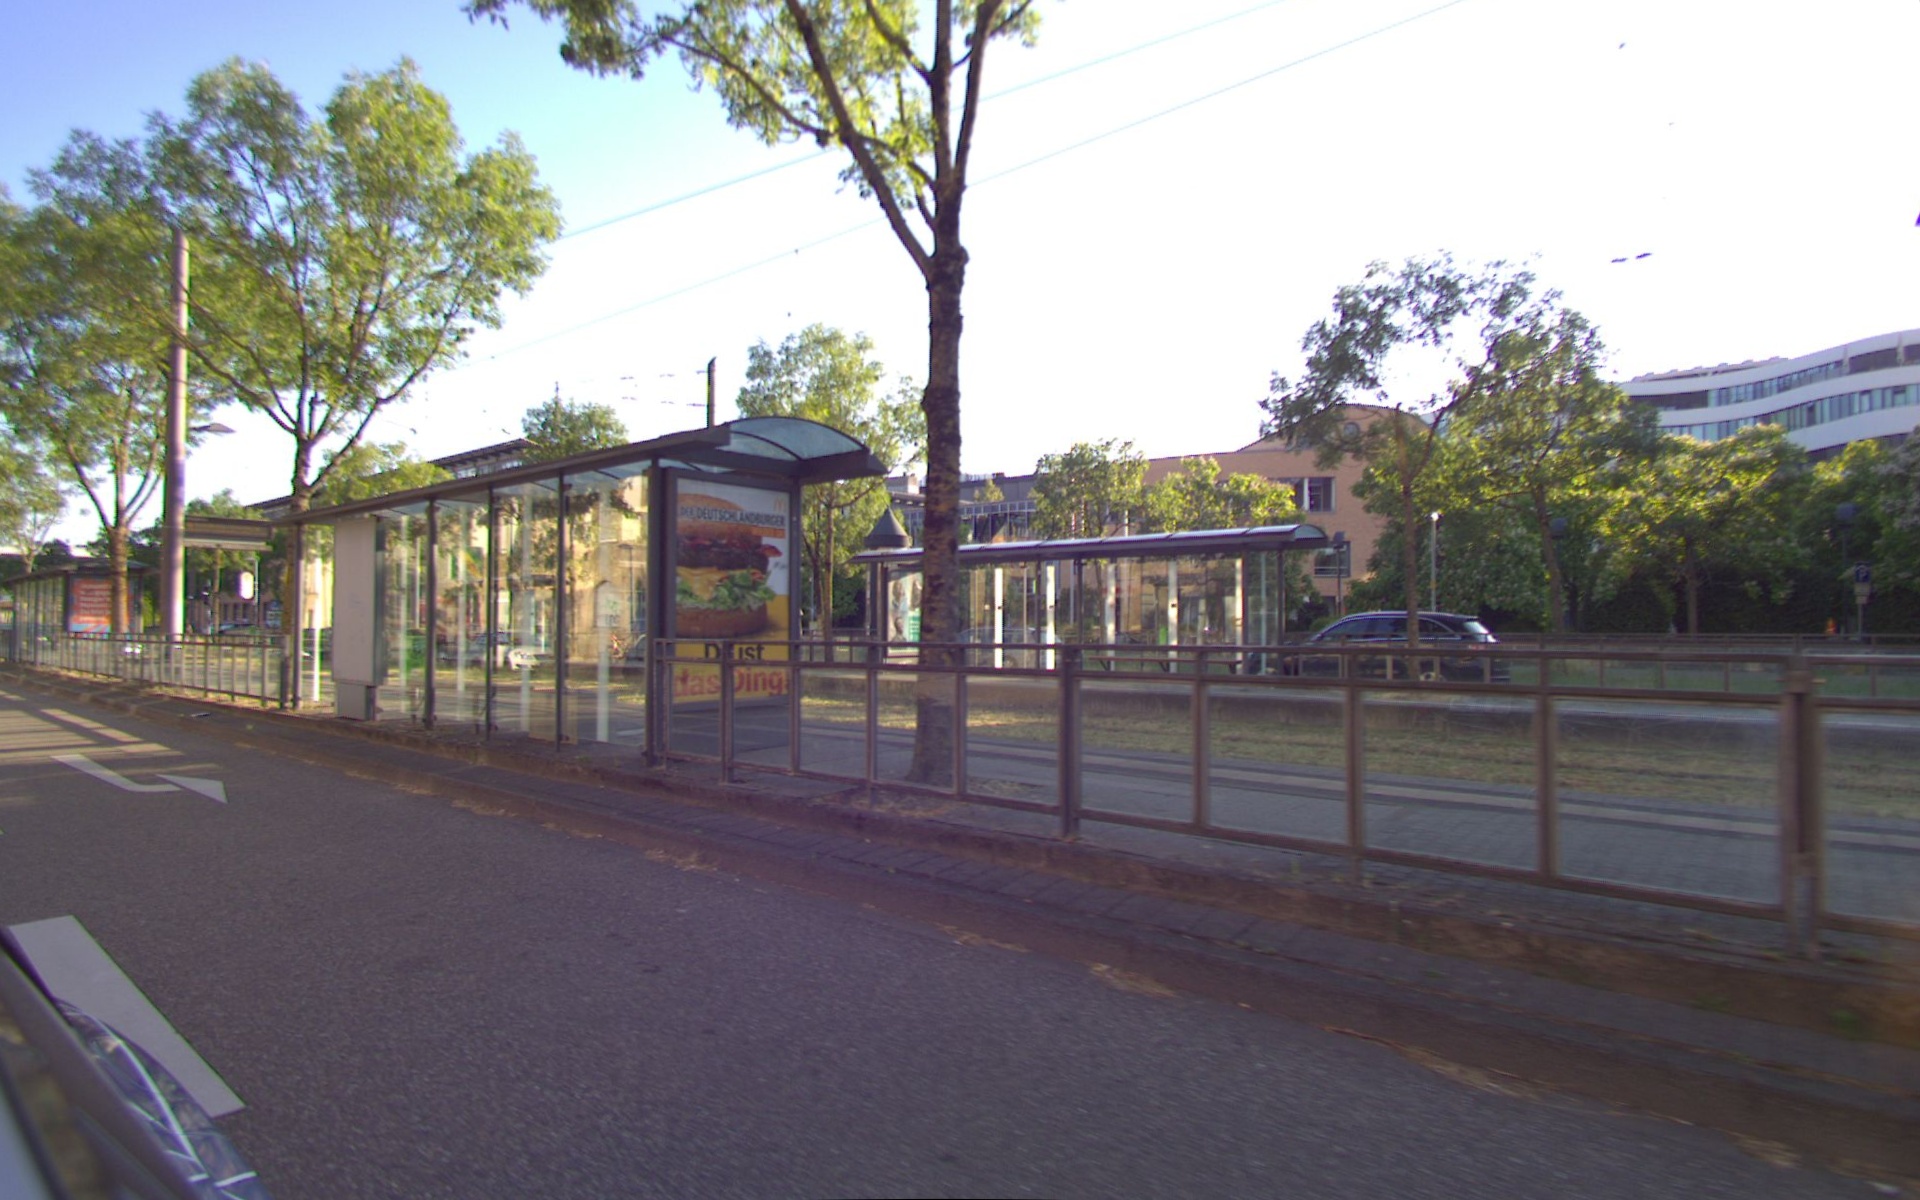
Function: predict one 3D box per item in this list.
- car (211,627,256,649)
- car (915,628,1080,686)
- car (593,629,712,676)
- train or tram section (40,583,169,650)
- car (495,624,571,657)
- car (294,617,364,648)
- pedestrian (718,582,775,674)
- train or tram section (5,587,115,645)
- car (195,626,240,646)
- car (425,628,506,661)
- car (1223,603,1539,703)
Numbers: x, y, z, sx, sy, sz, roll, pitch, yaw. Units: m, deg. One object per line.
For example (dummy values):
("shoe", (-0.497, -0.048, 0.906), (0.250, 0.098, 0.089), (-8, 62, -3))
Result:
("car", (-46.950, 2.432, 65.384), (3.687, 1.307, 1.524), (-1, -1, 40))
("car", (0.952, 1.490, 27.483), (4.430, 1.424, 1.593), (-1, -2, 40))
("car", (-10.486, 1.730, 34.360), (4.338, 1.426, 1.776), (-1, 0, 40))
("train or tram section", (-48.144, 0.944, 56.686), (13.849, 3.365, 3.395), (-1, -1, 41))
("car", (-18.908, 1.783, 44.760), (3.747, 1.387, 1.595), (-1, -5, 41))
("car", (-32.236, 1.624, 51.668), (4.359, 1.519, 1.842), (-1, -2, 41))
("pedestrian", (-4.831, 0.641, 22.941), (1.127, 2.029, 0.761), (-2, -2, 43))
("train or tram section", (-59.013, 1.081, 66.141), (15.018, 3.456, 3.395), (-1, -1, 41))
("car", (-56.729, 2.731, 77.307), (3.995, 1.519, 1.844), (-1, -2, 39))
("car", (-20.949, 1.859, 42.792), (3.998, 1.308, 1.676), (-1, -2, 41))
("car", (7.439, 0.898, 18.226), (4.892, 1.563, 1.972), (-2, -2, 42))
